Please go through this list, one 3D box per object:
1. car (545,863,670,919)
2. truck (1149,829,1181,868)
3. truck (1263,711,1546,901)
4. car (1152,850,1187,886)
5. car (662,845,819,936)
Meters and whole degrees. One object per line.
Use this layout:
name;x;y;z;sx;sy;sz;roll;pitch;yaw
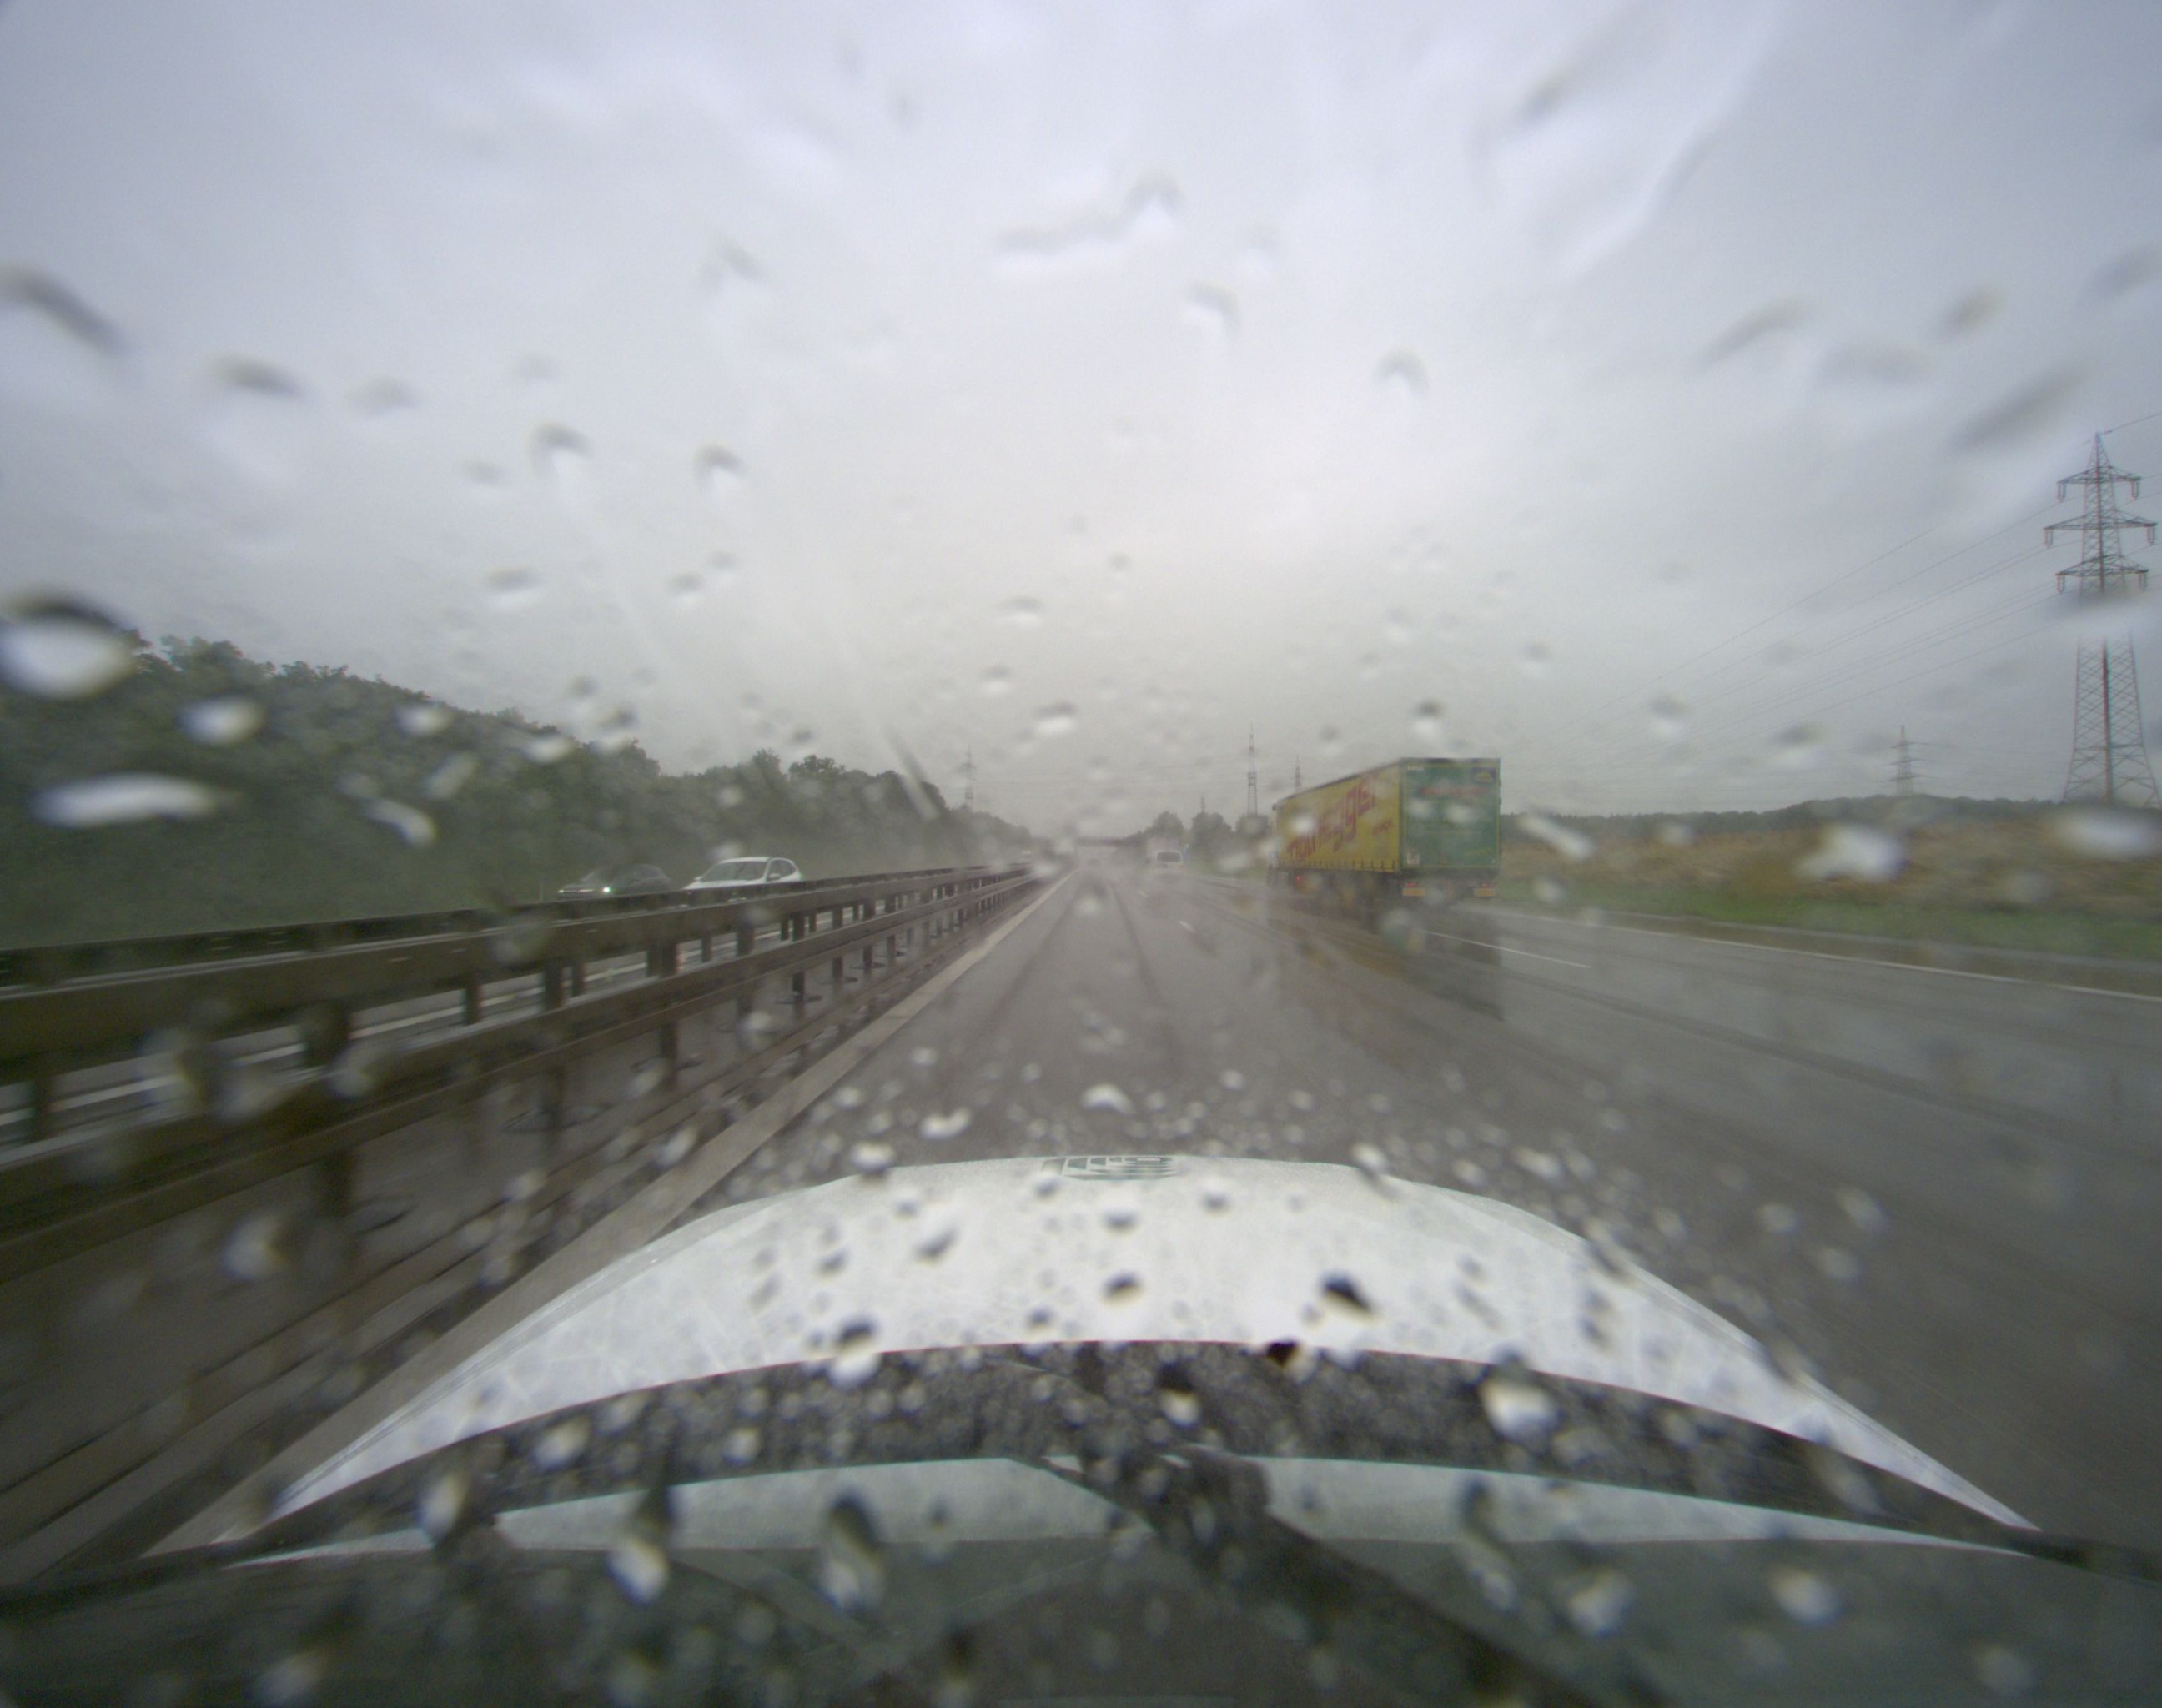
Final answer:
car;-15.815;1.188;27.451;1.616;1.574;4.005;-1;1;4
truck;9.978;-0.664;97.195;3.219;4.311;8.844;-2;0;3
truck;9.859;-1.202;28.391;4.172;4.630;16.118;-2;0;3
car;5.406;0.825;50.197;1.984;2.013;4.006;-2;0;5
car;-8.311;0.820;20.313;1.985;2.014;4.004;-1;0;4
